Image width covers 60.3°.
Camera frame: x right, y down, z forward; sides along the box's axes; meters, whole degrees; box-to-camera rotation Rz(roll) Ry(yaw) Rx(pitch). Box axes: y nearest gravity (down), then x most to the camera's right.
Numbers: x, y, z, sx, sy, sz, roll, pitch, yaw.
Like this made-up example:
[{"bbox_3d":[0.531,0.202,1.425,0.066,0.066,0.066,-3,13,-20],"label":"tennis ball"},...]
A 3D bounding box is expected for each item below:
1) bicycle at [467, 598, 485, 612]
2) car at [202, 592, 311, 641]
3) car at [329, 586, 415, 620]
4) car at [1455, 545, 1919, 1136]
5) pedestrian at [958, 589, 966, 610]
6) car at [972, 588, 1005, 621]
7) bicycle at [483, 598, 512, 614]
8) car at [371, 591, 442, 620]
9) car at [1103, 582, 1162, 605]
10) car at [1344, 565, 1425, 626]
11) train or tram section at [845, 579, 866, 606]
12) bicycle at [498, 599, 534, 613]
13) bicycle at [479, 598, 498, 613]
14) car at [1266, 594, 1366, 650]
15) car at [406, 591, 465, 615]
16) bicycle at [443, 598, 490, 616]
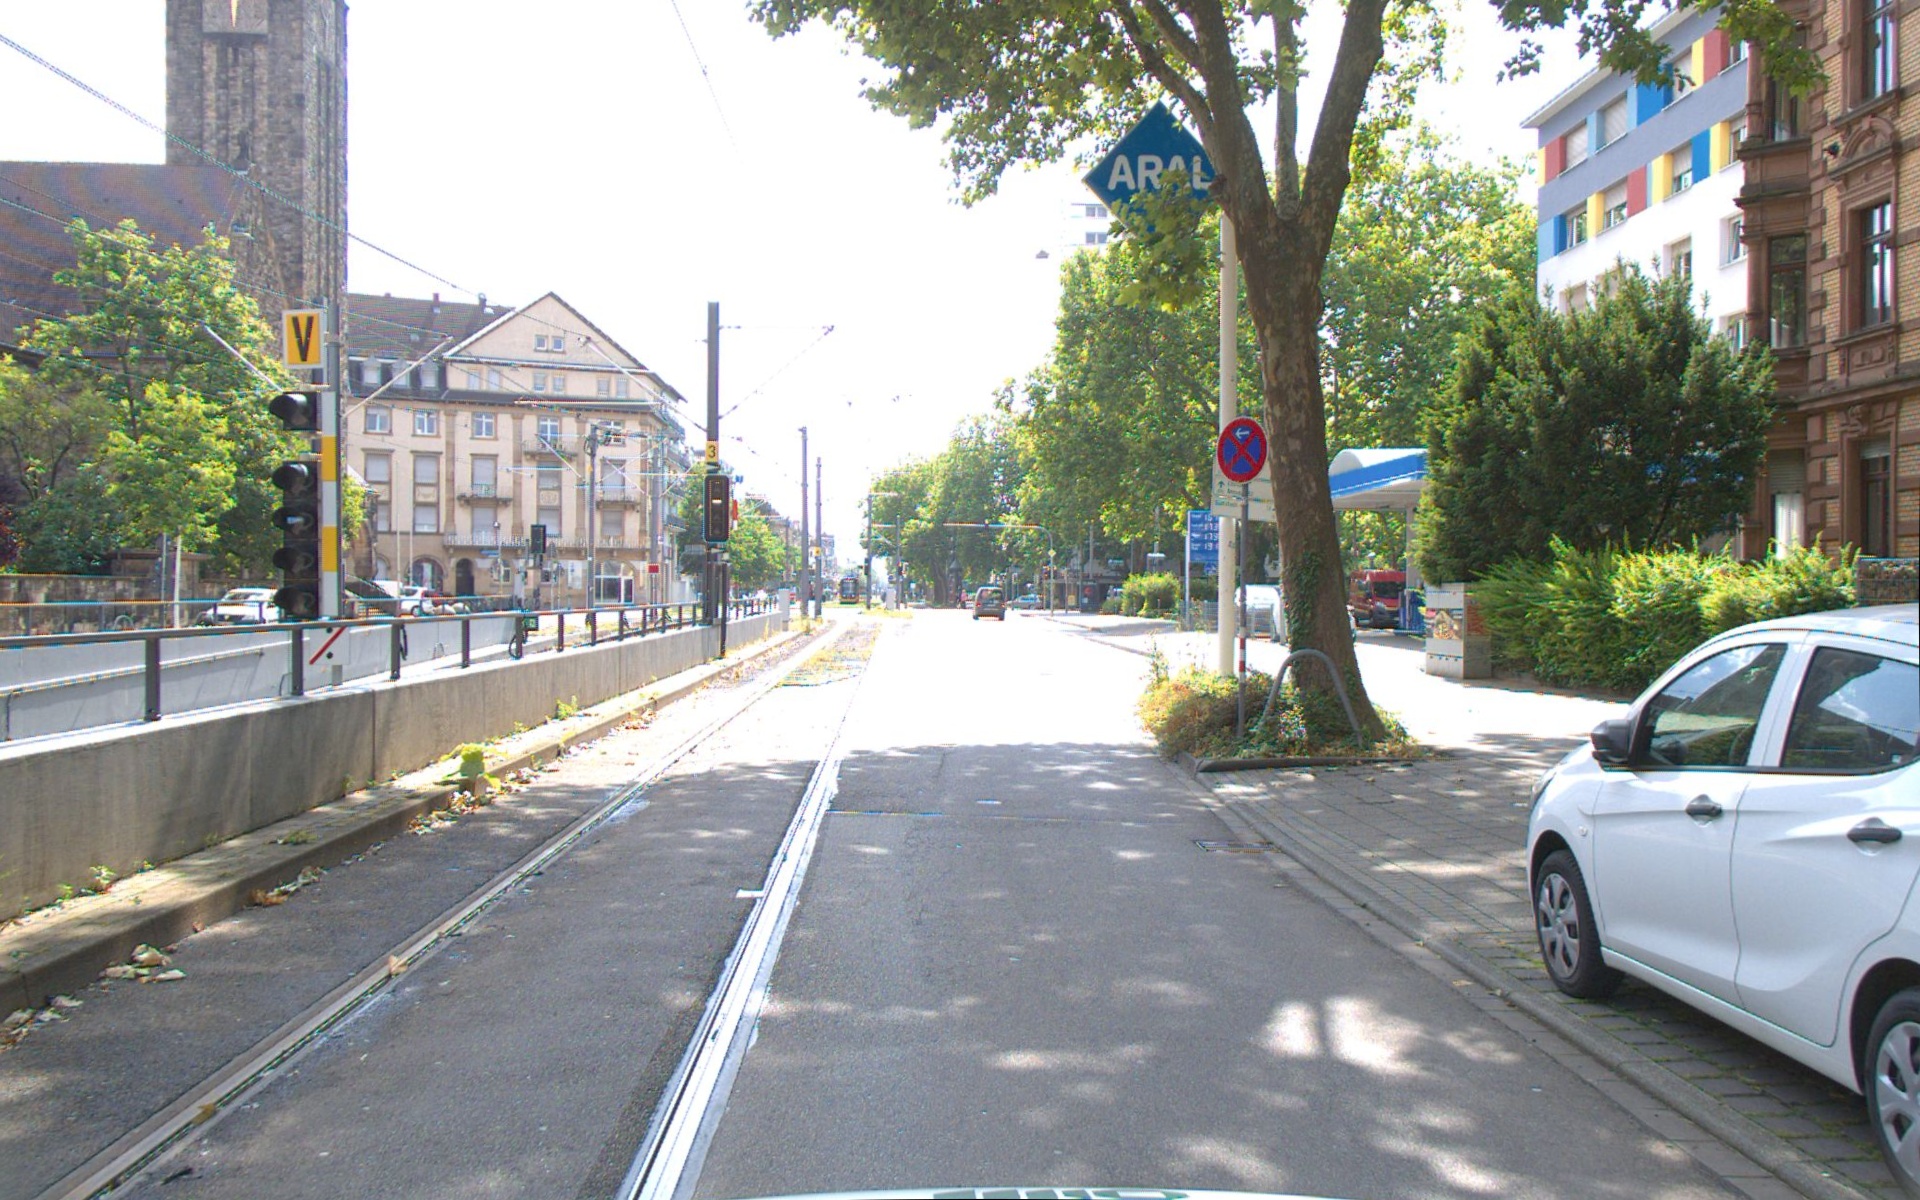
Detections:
[{"bbox_3d":[-35.855,0.361,122.489,0.732,1.071,2.340,0,0,-30],"label":"bicycle"},{"bbox_3d":[-22.879,0.494,53.967,1.892,1.531,4.411,0,0,-4],"label":"car"},{"bbox_3d":[-30.361,0.145,85.503,3.794,1.779,1.893,0,0,-5],"label":"car"},{"bbox_3d":[3.141,0.574,5.773,1.522,1.511,3.857,-1,1,-2],"label":"car"},{"bbox_3d":[0.165,-0.075,144.262,0.646,1.816,0.660,0,0,-2],"label":"pedestrian"},{"bbox_3d":[1.609,0.238,94.423,1.715,1.840,3.474,2,0,-2],"label":"car"},{"bbox_3d":[-33.658,0.407,120.397,1.957,1.134,0.480,0,0,-39],"label":"bicycle"},{"bbox_3d":[-29.709,0.289,88.809,3.200,1.528,1.853,0,0,-4],"label":"car"},{"bbox_3d":[13.983,-0.534,133.762,4.700,1.892,1.974,0,0,-37],"label":"car"},{"bbox_3d":[18.816,-0.220,73.648,2.068,2.627,6.019,0,0,0],"label":"car"},{"bbox_3d":[-13.472,-0.922,214.624,2.195,3.390,12.967,0,0,-1],"label":"train or tram section"},{"bbox_3d":[-32.706,0.432,121.846,2.530,1.071,0.675,0,0,-30],"label":"bicycle"},{"bbox_3d":[-34.941,0.381,122.554,0.732,1.071,2.539,0,0,-30],"label":"bicycle"},{"bbox_3d":[9.919,0.581,46.363,1.769,1.481,3.999,1,0,-2],"label":"car"},{"bbox_3d":[-37.992,0.190,119.701,3.913,1.703,1.996,0,0,31],"label":"car"},{"bbox_3d":[-36.035,0.487,120.844,3.239,1.275,0.999,0,0,15],"label":"bicycle"}]
